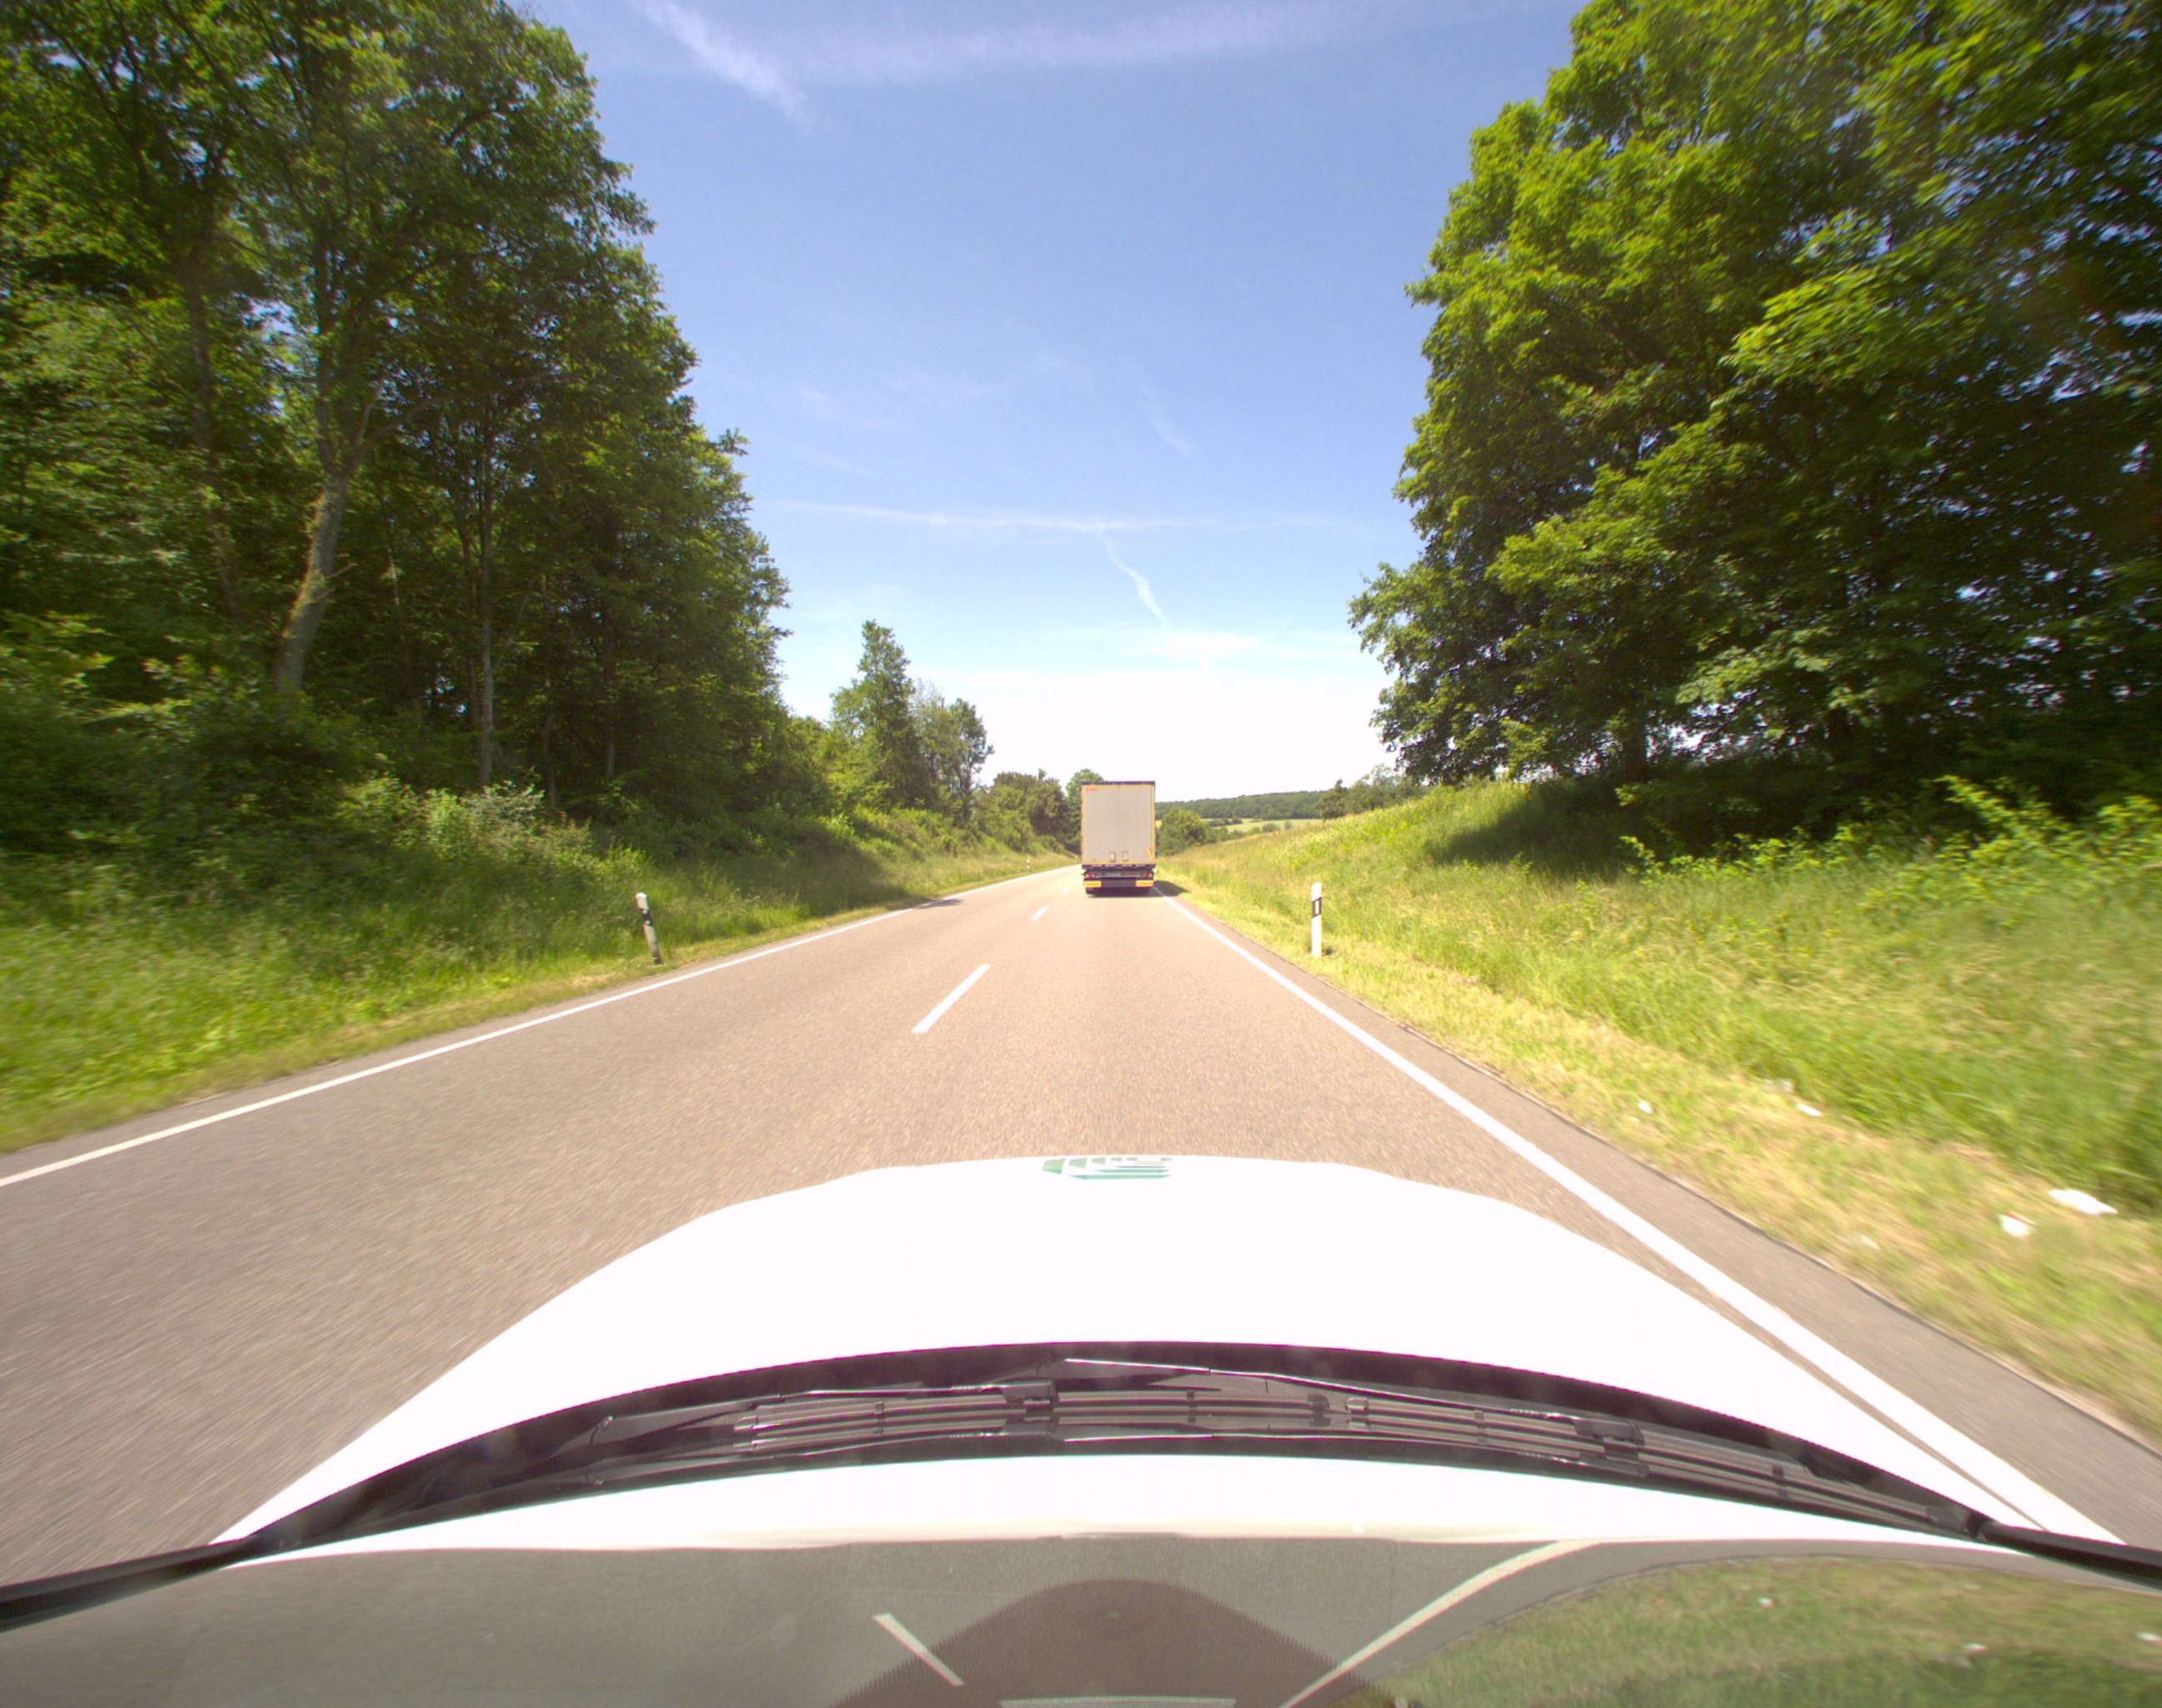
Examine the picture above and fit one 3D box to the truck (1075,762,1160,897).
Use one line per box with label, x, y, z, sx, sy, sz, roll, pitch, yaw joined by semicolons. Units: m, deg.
truck;1.433;-0.847;33.566;2.807;4.532;11.772;-1;0;2
